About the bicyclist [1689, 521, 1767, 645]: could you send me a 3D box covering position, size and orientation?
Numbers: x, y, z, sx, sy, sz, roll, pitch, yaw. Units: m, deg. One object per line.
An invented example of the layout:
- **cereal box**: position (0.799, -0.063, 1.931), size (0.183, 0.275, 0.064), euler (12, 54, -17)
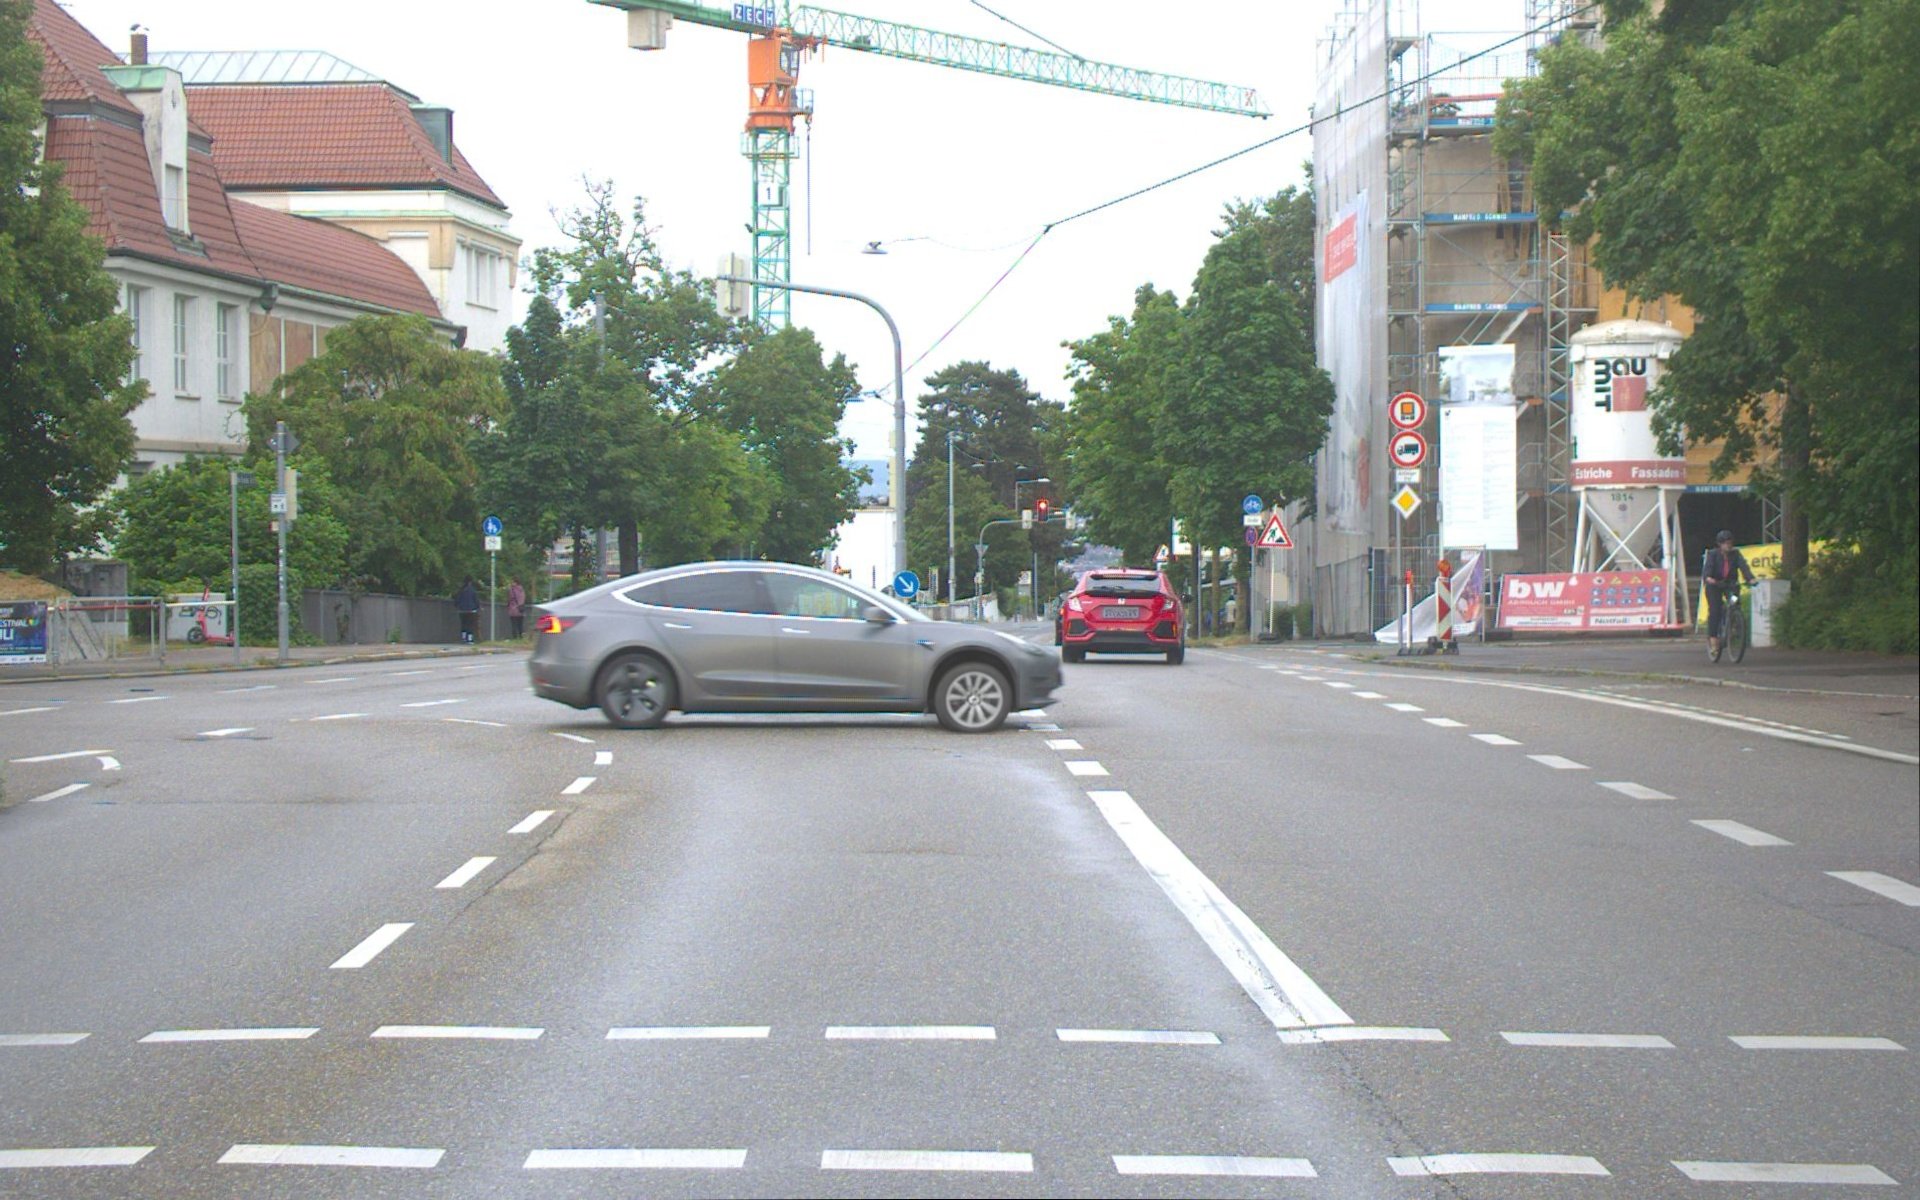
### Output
- **bicyclist**: position (9.852, -0.209, 44.139), size (0.720, 1.558, 1.143), euler (1, -1, 0)

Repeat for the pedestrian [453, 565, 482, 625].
- **pedestrian**: position (-11.972, -0.126, 83.557), size (0.587, 1.424, 0.467), euler (1, -1, 0)

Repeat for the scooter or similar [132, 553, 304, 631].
- **scooter or similar**: position (-14.233, -0.157, 66.011), size (3.087, 1.435, 0.949), euler (-1, 1, -3)

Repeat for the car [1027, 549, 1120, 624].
- **car**: position (2.751, -0.313, 84.114), size (1.993, 1.700, 4.000), euler (1, -1, -2)

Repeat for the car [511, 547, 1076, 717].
- **car**: position (-1.463, 0.257, 30.112), size (4.769, 1.420, 2.000), euler (0, 1, -4)

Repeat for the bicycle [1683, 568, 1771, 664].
- **bicycle**: position (9.835, 0.209, 44.132), size (0.720, 1.189, 1.756), euler (1, -1, 0)

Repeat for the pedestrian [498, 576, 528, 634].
- **pedestrian**: position (-11.010, 0.125, 84.644), size (0.637, 1.381, 0.606), euler (1, -1, -2)

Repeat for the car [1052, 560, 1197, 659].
- **car**: position (2.541, 0.111, 52.203), size (1.994, 1.420, 4.519), euler (0, 1, 5)
